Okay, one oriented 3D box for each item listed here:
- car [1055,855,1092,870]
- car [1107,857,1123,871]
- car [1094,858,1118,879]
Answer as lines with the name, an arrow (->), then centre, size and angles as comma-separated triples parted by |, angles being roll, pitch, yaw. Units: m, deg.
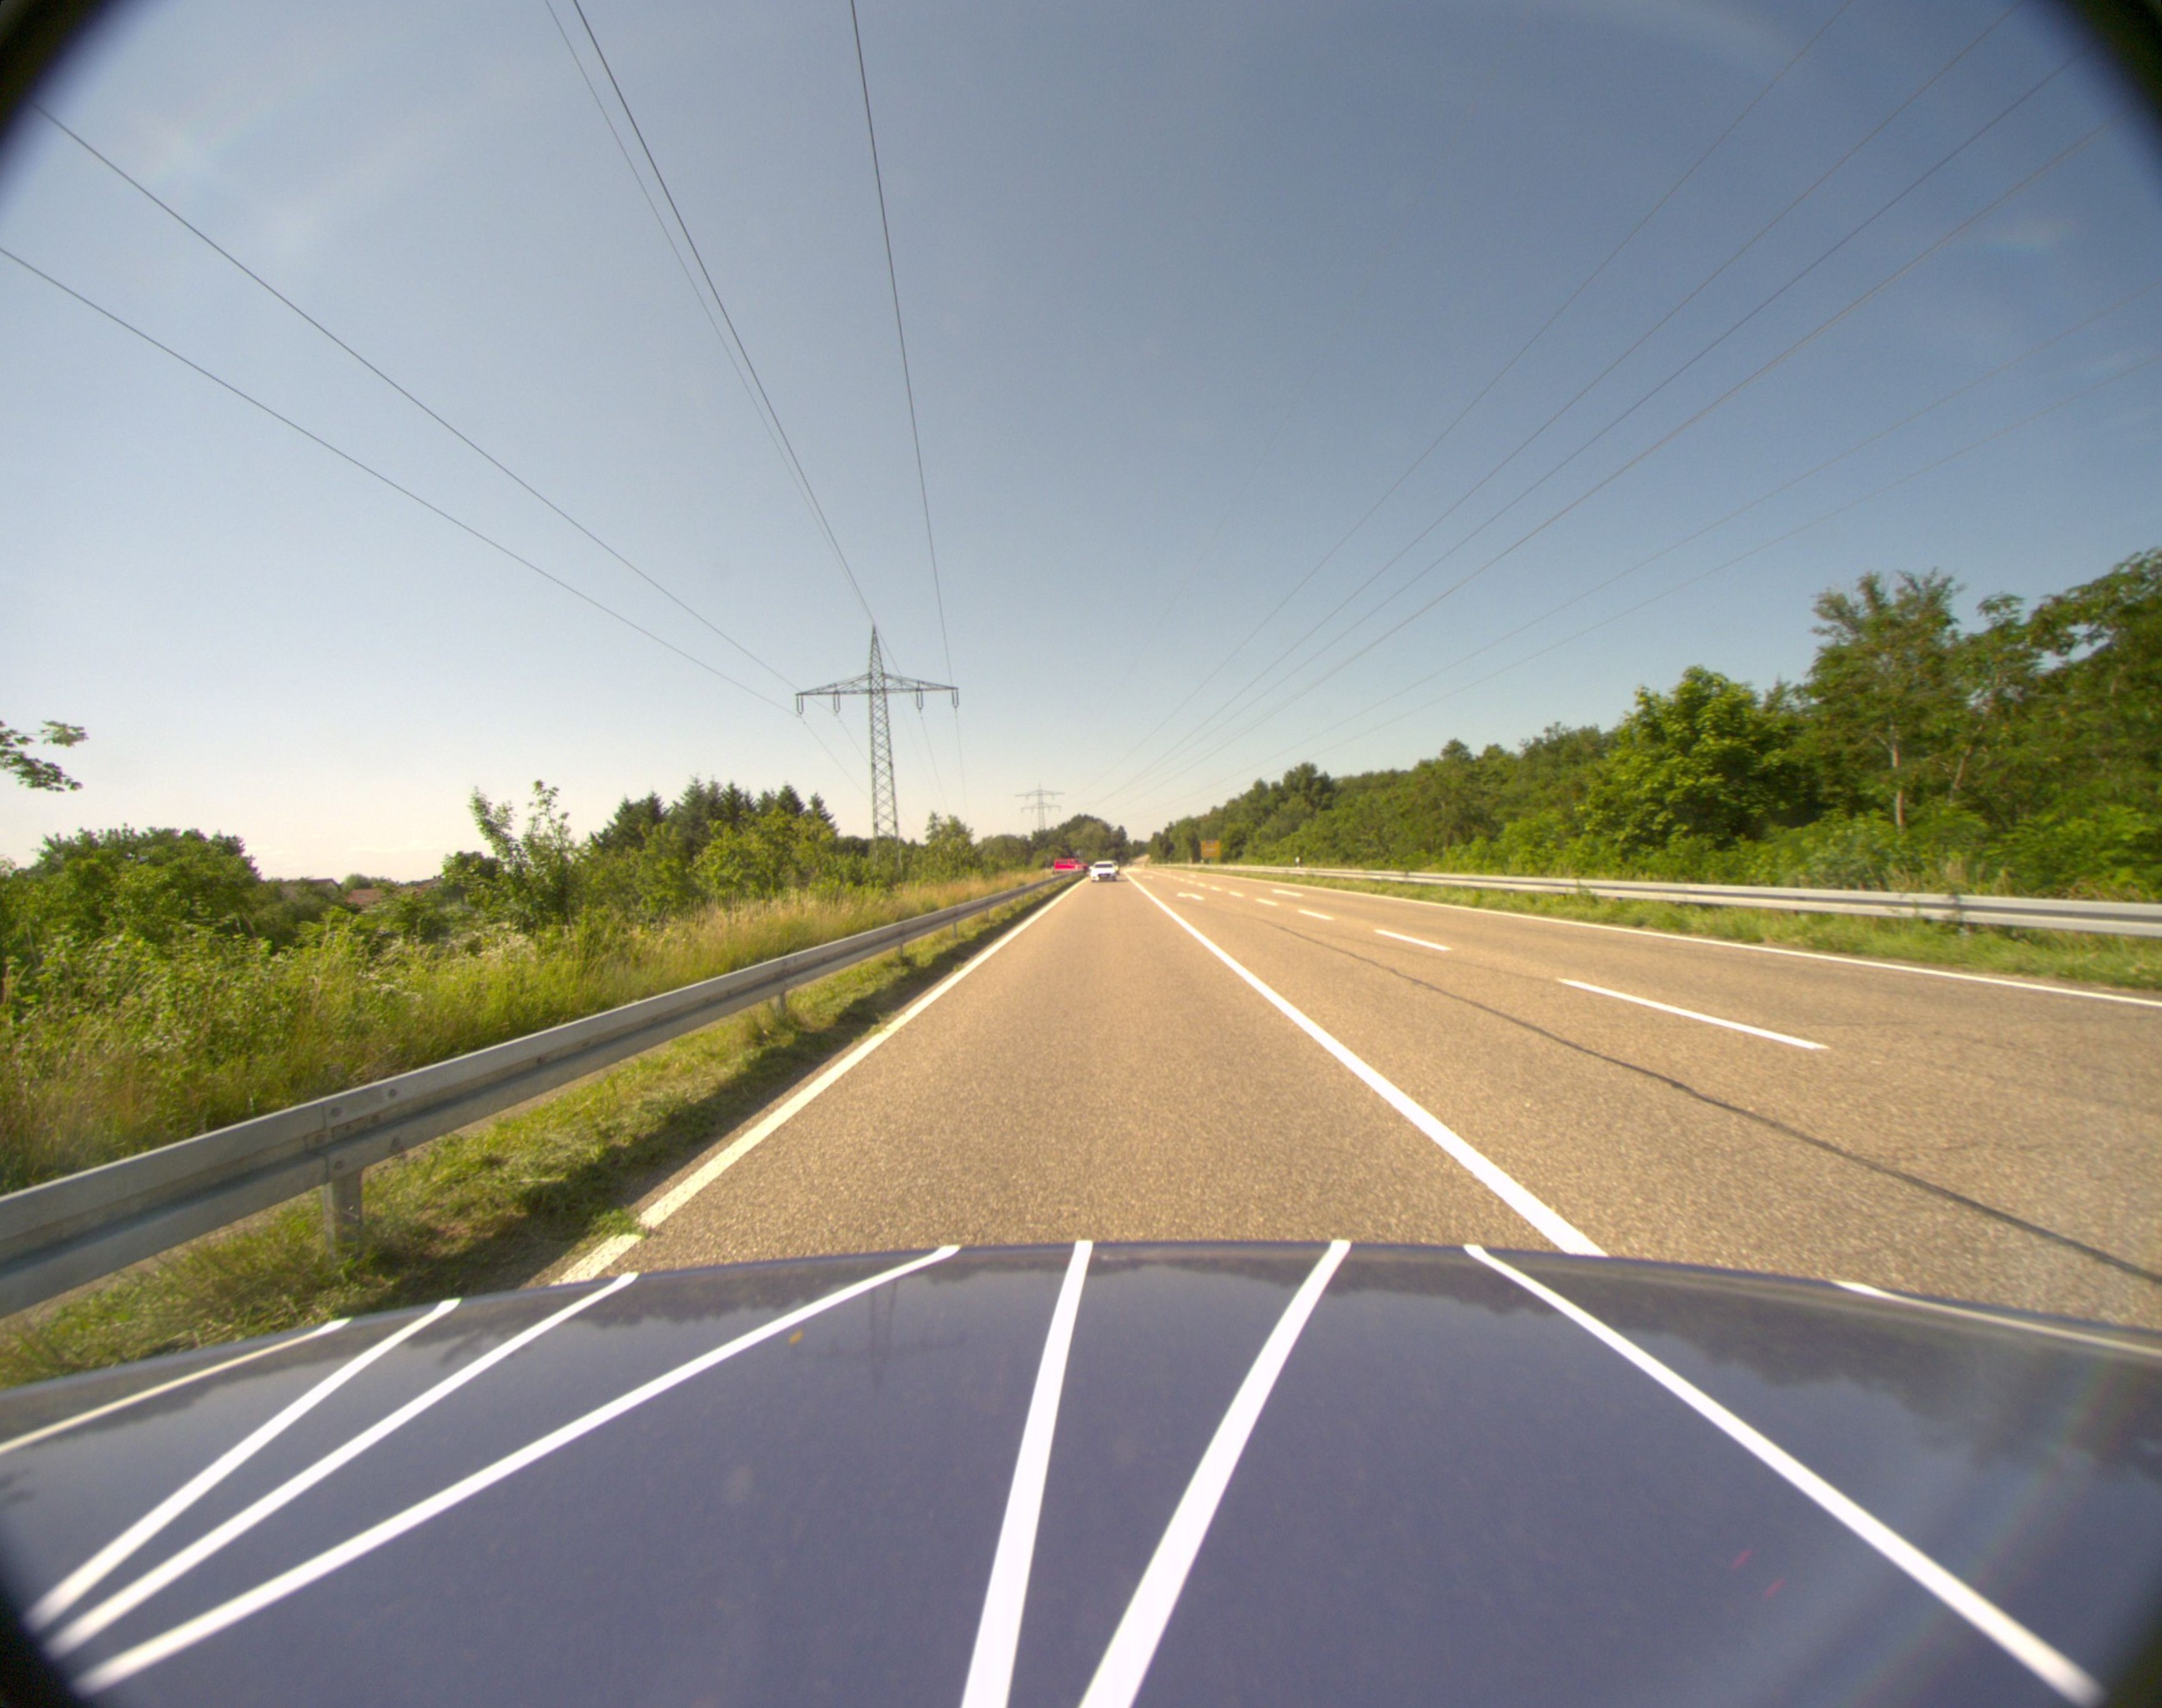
car -> -0.990, 1.167, 102.408 | 4.825, 1.892, 1.800 | -2, 0, 37
car -> 3.649, 1.104, 82.330 | 1.549, 1.460, 3.661 | -2, 0, 1
car -> 1.864, 1.065, 56.616 | 1.683, 1.471, 4.474 | -1, 0, 1
